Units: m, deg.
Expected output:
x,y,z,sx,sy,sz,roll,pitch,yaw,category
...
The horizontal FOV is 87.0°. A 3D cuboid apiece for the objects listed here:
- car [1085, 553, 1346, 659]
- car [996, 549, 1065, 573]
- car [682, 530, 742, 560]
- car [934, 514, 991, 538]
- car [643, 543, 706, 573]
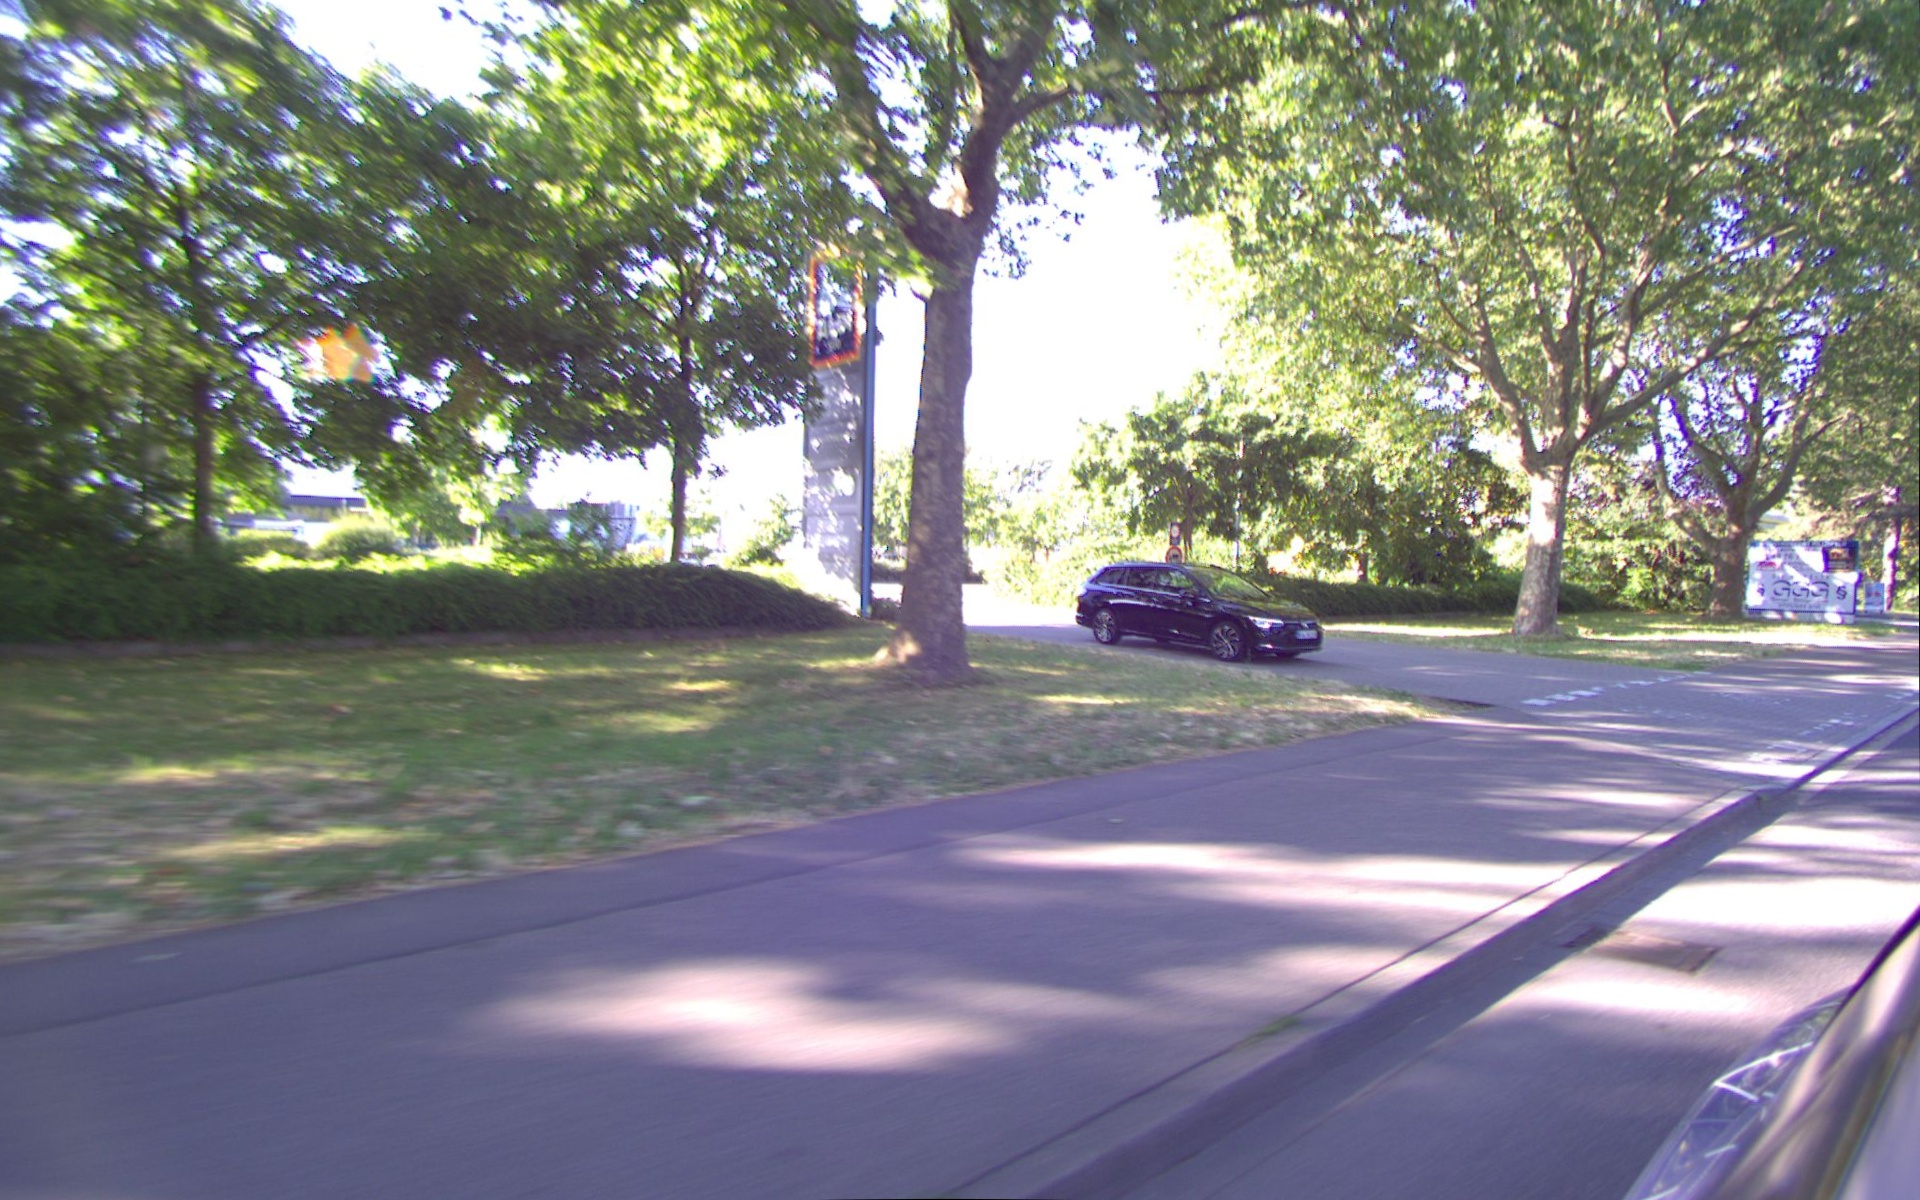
x,y,z,sx,sy,sz,roll,pitch,yaw,category
4.099,0.001,16.804,1.728,1.460,4.000,-1,4,-37,car
4.478,-2.473,64.026,3.924,1.370,2.001,0,3,-35,car
-13.948,-3.069,56.778,1.962,1.571,4.002,-1,3,-34,car
0.199,-5.644,77.244,3.924,1.637,2.001,0,3,-35,car
-15.576,-2.283,55.000,1.962,1.571,4.592,-1,3,-34,car
